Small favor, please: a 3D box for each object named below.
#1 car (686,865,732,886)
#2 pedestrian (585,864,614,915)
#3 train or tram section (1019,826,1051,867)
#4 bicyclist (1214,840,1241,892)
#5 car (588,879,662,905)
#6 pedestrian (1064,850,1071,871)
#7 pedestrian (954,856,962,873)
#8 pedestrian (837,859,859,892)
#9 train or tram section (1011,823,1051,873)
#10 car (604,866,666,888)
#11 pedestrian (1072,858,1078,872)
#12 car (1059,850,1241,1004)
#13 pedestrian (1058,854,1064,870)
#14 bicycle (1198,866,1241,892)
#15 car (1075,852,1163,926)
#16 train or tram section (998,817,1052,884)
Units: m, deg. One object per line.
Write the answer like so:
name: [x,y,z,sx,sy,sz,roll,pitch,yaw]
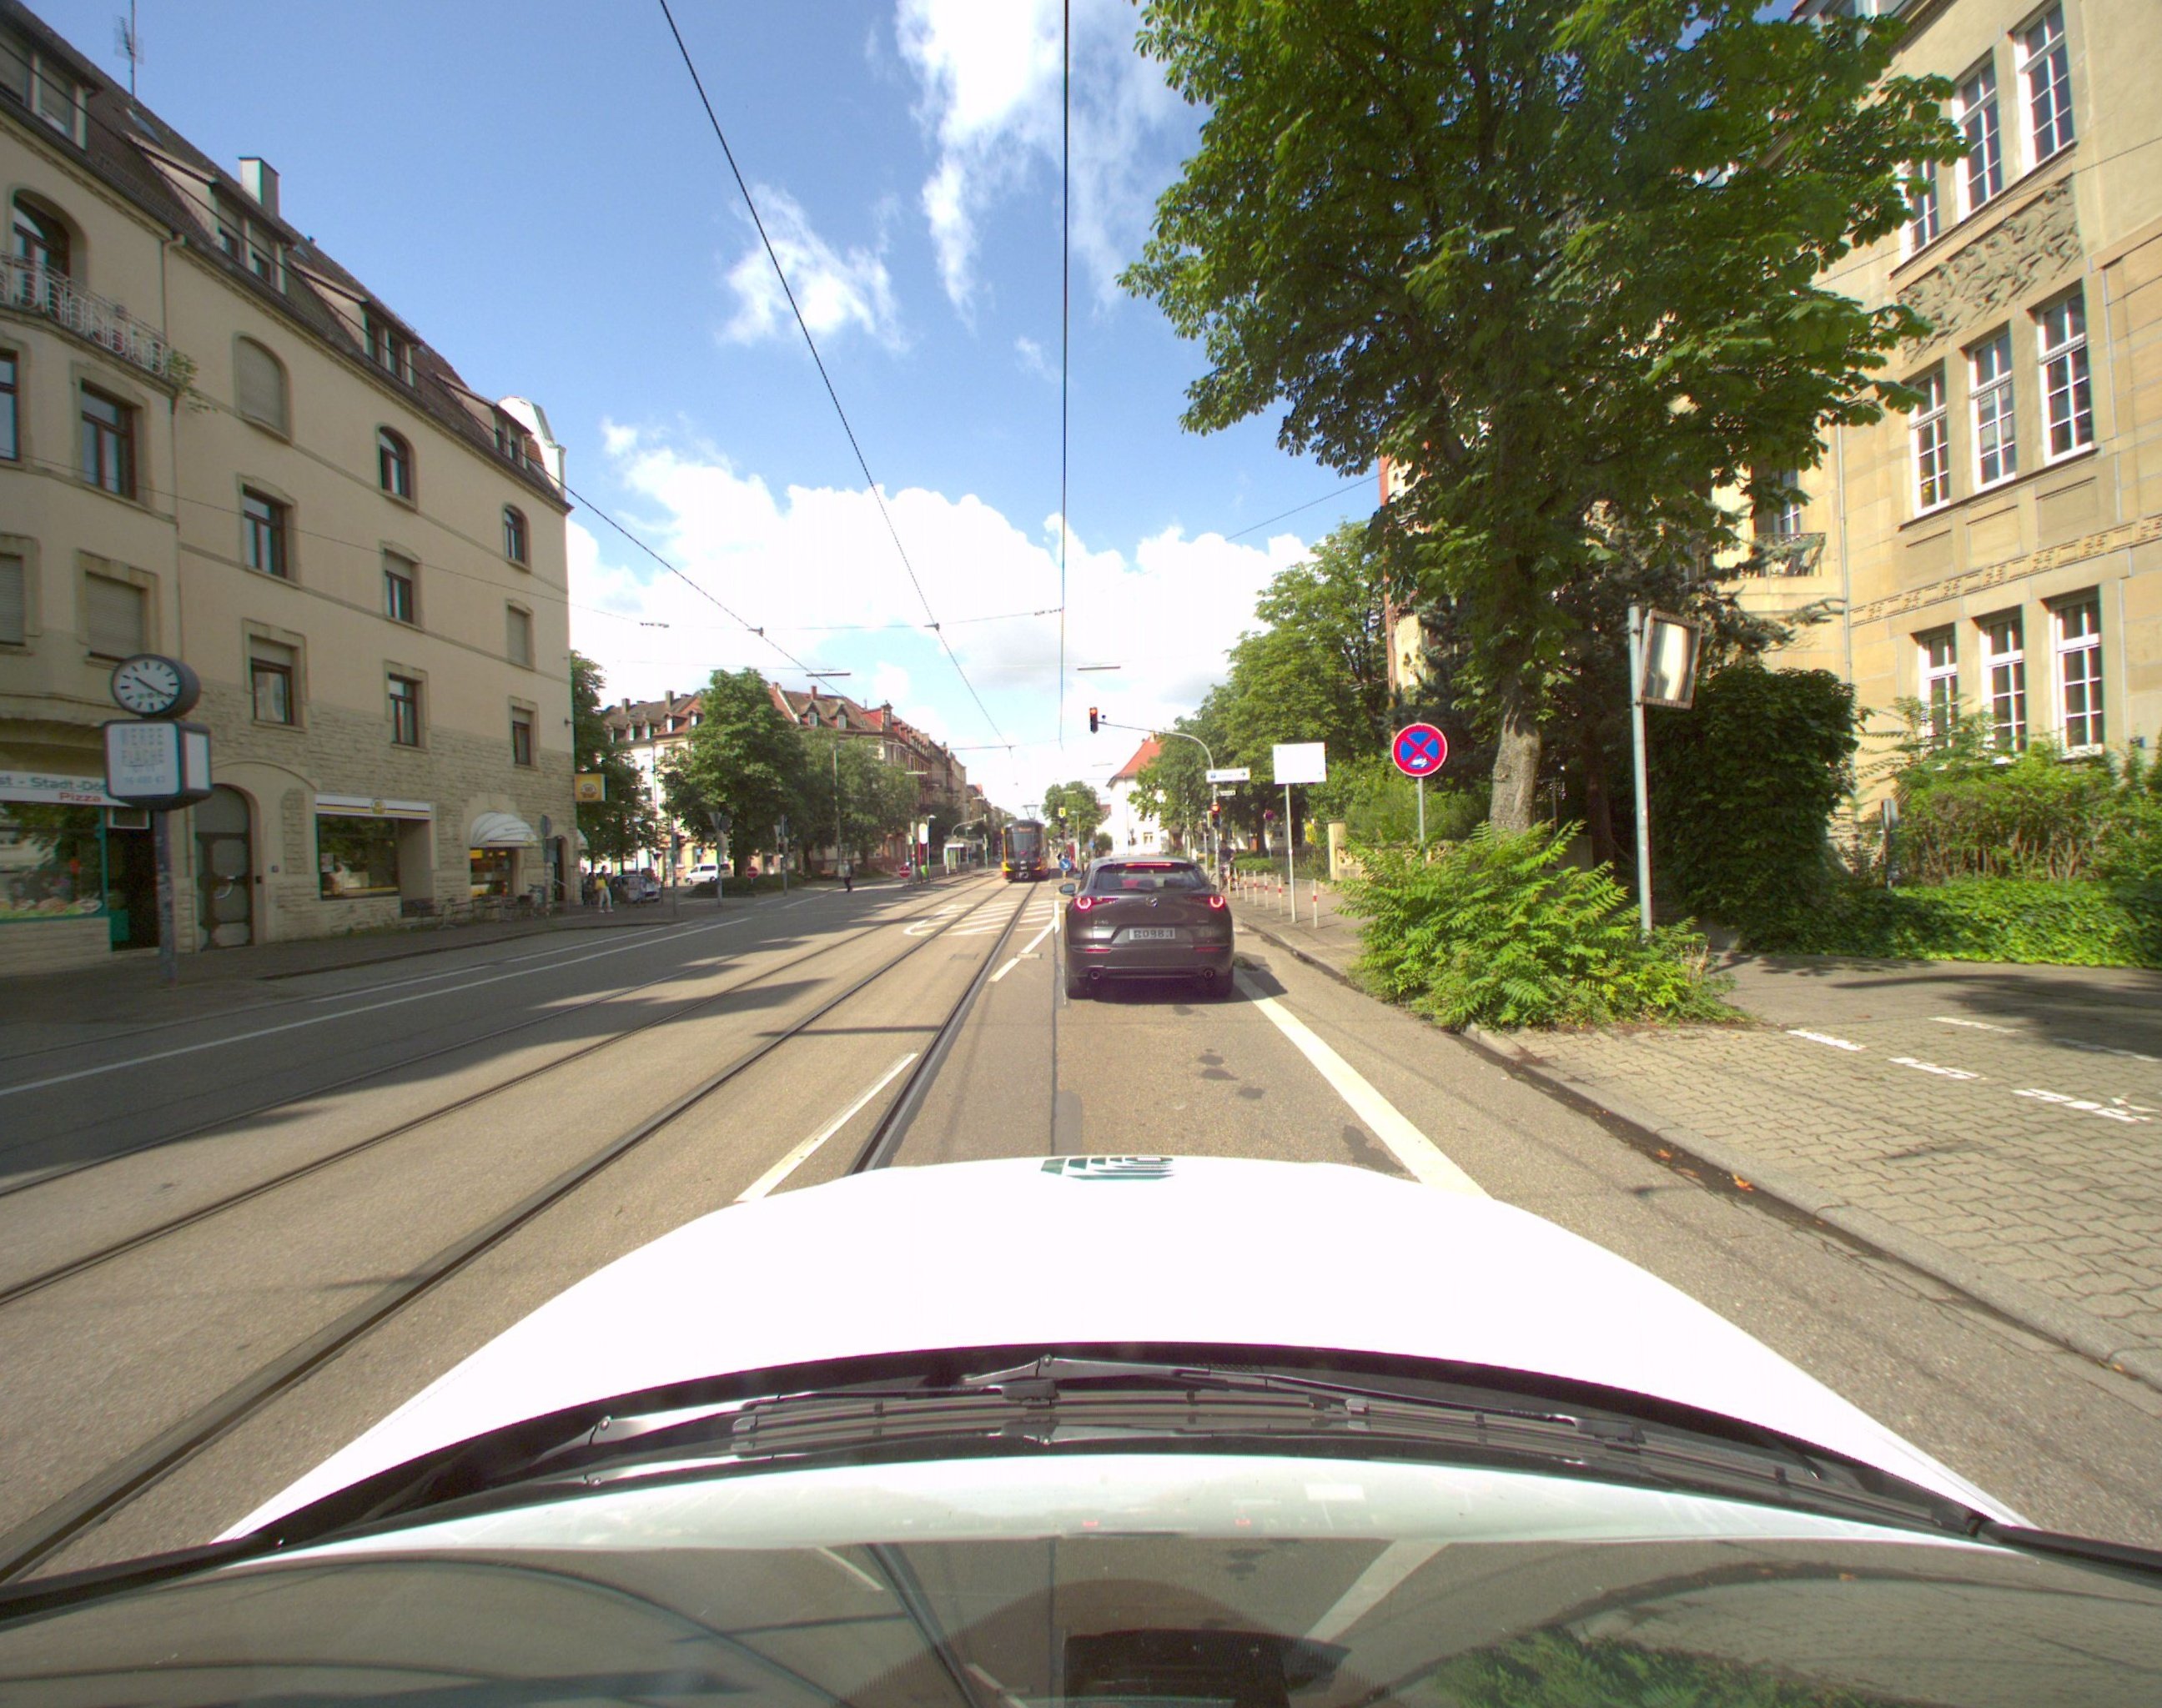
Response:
car: [-36.776,2.128,80.544,3.950,1.903,2.012,-2,0,26]
pedestrian: [-17.312,1.263,29.300,0.684,1.754,0.796,-2,0,-18]
train or tram section: [-4.370,-0.797,79.618,2.746,3.490,14.396,-2,1,-2]
bicyclist: [5.177,0.405,28.784,0.610,1.793,0.653,-2,0,-22]
car: [-23.186,1.930,41.376,3.948,1.182,1.689,-2,0,35]
pedestrian: [-0.939,0.458,57.692,0.449,1.434,0.474,-2,0,-3]
pedestrian: [-9.807,0.833,64.978,0.424,1.399,0.401,-2,0,32]
pedestrian: [-12.279,1.131,42.969,0.813,1.705,0.724,-2,0,40]
train or tram section: [-3.836,-0.553,65.219,2.746,3.490,14.396,-2,1,-2]
car: [-37.406,1.910,68.354,3.972,1.596,2.001,-3,0,2]
pedestrian: [-0.440,0.751,57.877,0.379,0.984,0.474,-2,0,-3]
car: [0.728,0.714,10.006,1.772,1.499,4.001,0,0,1]
pedestrian: [-1.396,0.552,57.745,0.379,1.071,0.474,-2,0,-3]
bicycle: [4.962,0.895,29.045,1.708,0.824,0.488,-2,0,-40]
car: [0.829,0.712,18.662,1.772,1.499,4.001,0,0,1]
train or tram section: [-3.288,-0.317,50.838,2.746,3.490,14.396,-2,1,-2]
